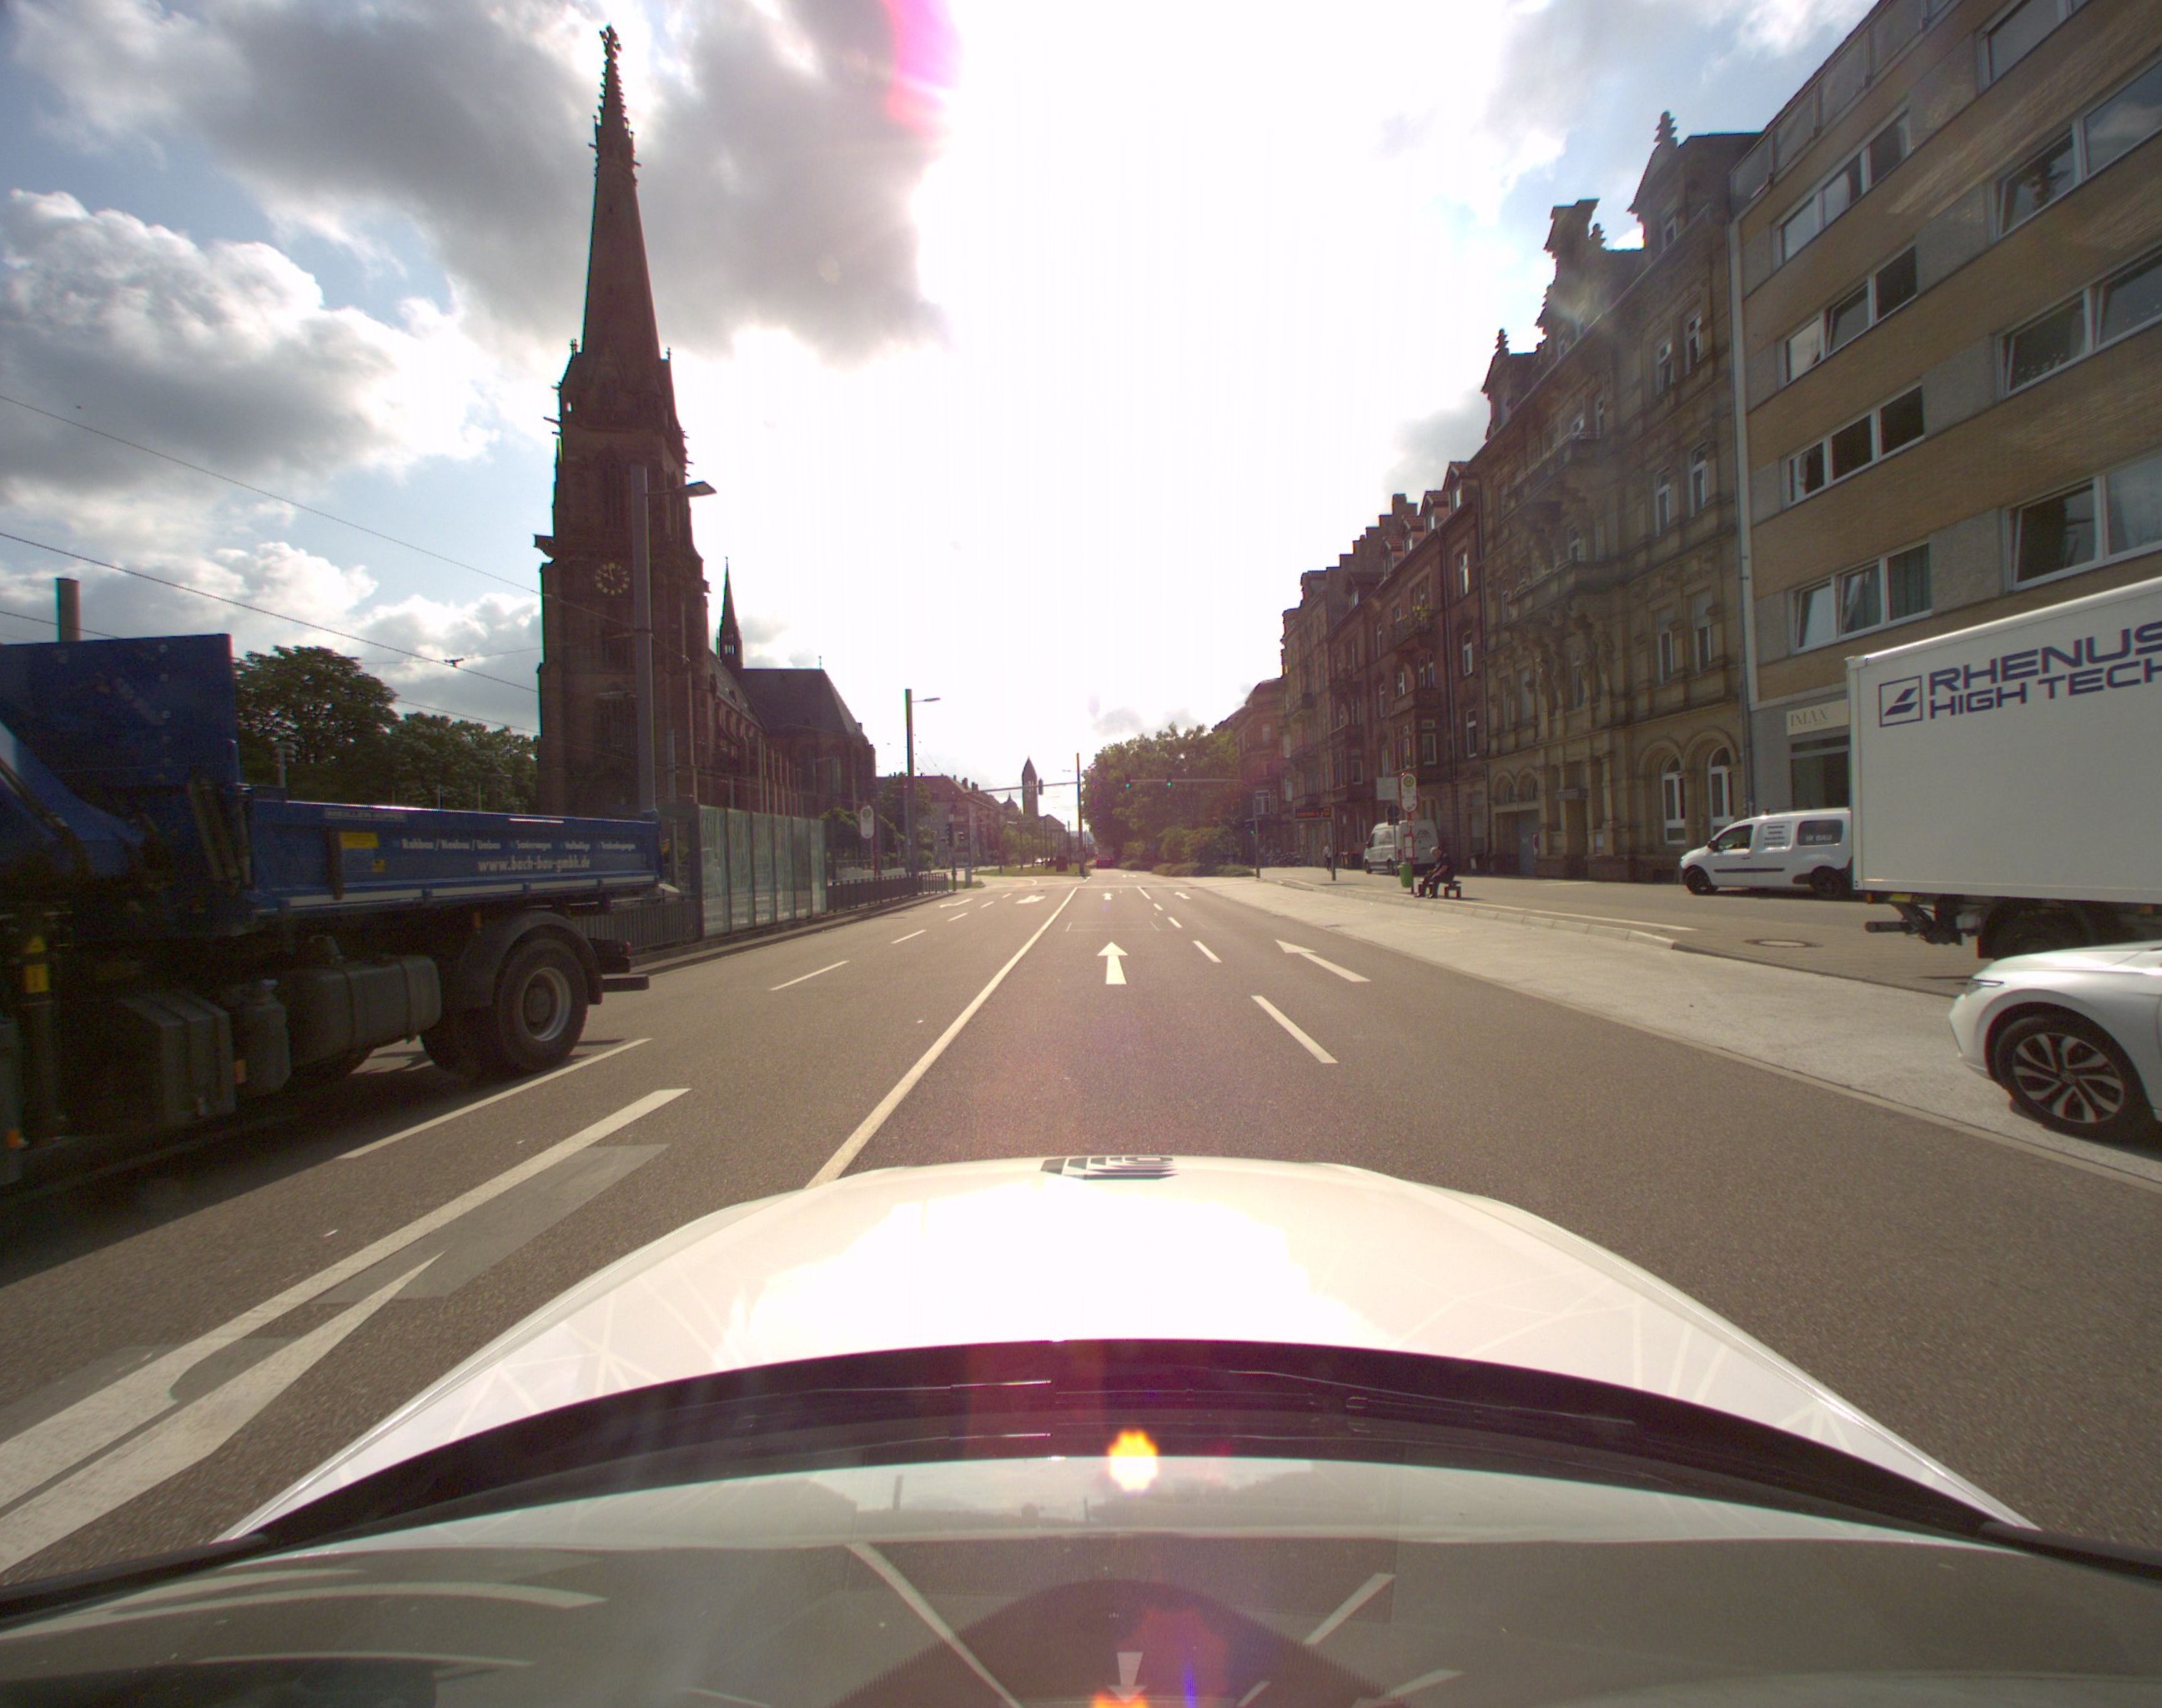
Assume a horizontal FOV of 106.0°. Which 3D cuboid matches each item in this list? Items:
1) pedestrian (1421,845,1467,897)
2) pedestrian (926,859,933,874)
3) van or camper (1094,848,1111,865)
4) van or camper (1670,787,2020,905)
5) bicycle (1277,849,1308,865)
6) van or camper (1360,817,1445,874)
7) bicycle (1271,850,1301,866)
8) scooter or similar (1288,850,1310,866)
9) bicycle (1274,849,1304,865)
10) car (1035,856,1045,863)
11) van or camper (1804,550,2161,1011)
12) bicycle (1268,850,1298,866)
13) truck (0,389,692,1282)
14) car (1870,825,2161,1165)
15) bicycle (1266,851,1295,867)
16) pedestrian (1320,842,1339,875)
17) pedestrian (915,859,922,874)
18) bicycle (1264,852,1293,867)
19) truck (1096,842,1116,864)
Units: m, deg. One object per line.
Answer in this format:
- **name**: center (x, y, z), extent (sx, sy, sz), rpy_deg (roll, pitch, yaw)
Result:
- **pedestrian**: center (9.505, 0.431, 21.333), extent (0.748, 1.316, 0.812), rpy_deg (0, -1, -37)
- **pedestrian**: center (-21.259, 1.766, 114.098), extent (0.802, 2.014, 0.915), rpy_deg (0, -4, 1)
- **van or camper**: center (2.854, 0.387, 107.751), extent (2.004, 1.915, 4.517), rpy_deg (0, -4, -2)
- **van or camper**: center (15.255, -0.132, 16.851), extent (1.989, 1.904, 5.292), rpy_deg (-5, 0, -3)
- **bicycle**: center (16.438, 0.209, 63.373), extent (2.185, 1.181, 0.683), rpy_deg (-2, 0, -4)
- **van or camper**: center (15.478, -0.378, 39.570), extent (1.986, 2.474, 5.567), rpy_deg (-2, 0, 2)
- **bicycle**: center (16.305, 0.300, 64.787), extent (2.185, 1.181, 0.683), rpy_deg (-2, 0, -4)
- **scooter or similar**: center (16.291, 0.319, 60.886), extent (1.558, 1.097, 0.452), rpy_deg (-2, 0, 5)
- **bicycle**: center (16.390, 0.258, 64.138), extent (2.185, 1.181, 0.683), rpy_deg (-2, 0, -4)
- **car**: center (-10.581, 1.422, 212.352), extent (1.984, 1.794, 4.005), rpy_deg (-2, 0, 5)
- **van or camper**: center (9.135, -0.579, 5.034), extent (2.701, 3.330, 7.645), rpy_deg (-3, 0, 3)
- **bicycle**: center (16.257, 0.346, 65.494), extent (2.185, 1.181, 0.683), rpy_deg (-2, 0, -4)
- **truck**: center (-5.576, -0.052, 4.988), extent (2.454, 3.648, 7.453), rpy_deg (-2, 0, 2)
- **car**: center (5.690, 0.604, 2.795), extent (1.783, 1.437, 4.347), rpy_deg (-6, -1, 3)
- **bicycle**: center (16.199, 0.393, 66.231), extent (2.185, 1.181, 0.683), rpy_deg (-2, 0, -4)
- **pedestrian**: center (15.191, 0.289, 49.816), extent (0.882, 2.014, 0.996), rpy_deg (0, -1, 1)
- **pedestrian**: center (-22.591, 1.713, 113.277), extent (0.802, 2.014, 0.915), rpy_deg (0, -4, 1)
- **bicycle**: center (16.199, 0.437, 66.911), extent (2.185, 1.181, 0.683), rpy_deg (-2, 0, -4)
- **truck**: center (4.263, -0.100, 137.865), extent (3.157, 3.287, 7.299), rpy_deg (-1, -4, 2)
